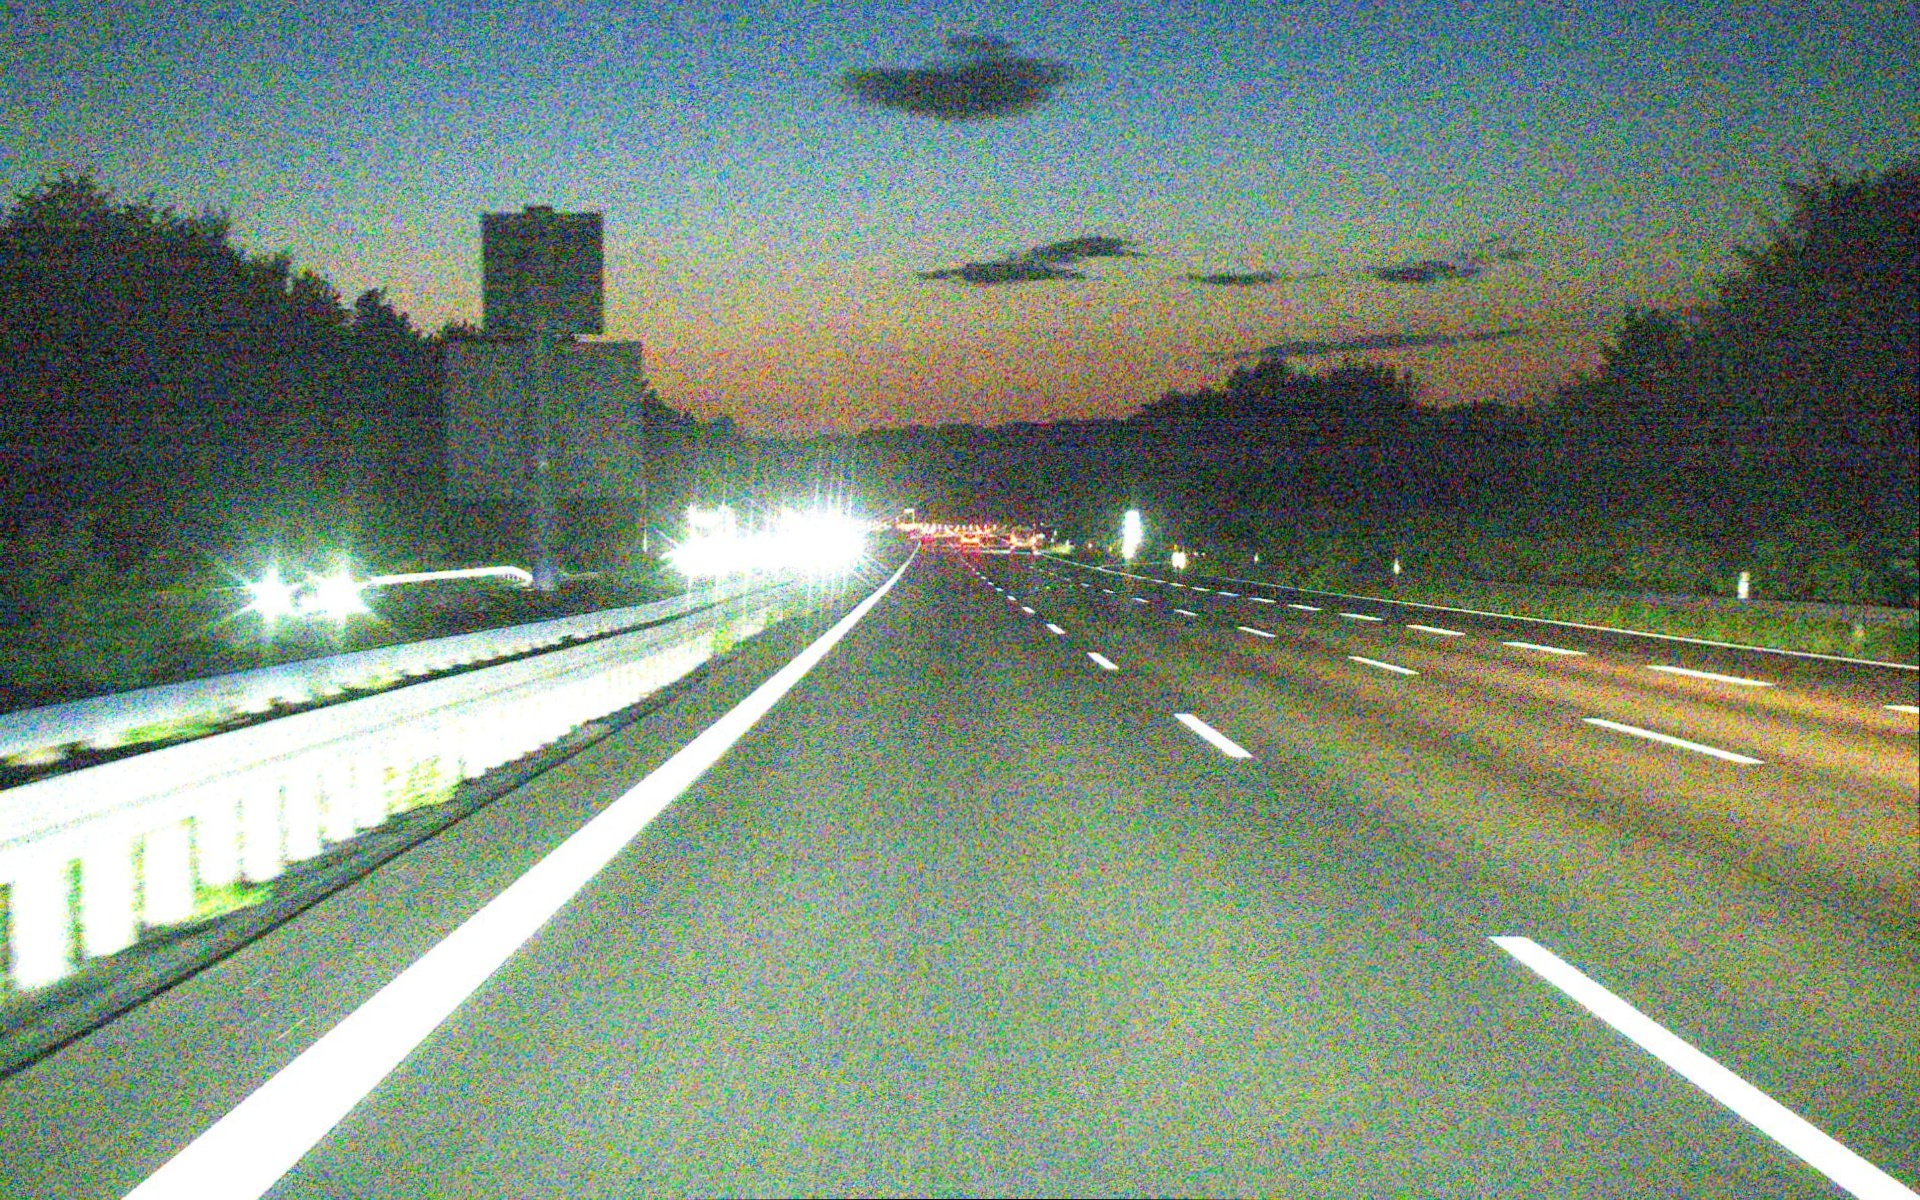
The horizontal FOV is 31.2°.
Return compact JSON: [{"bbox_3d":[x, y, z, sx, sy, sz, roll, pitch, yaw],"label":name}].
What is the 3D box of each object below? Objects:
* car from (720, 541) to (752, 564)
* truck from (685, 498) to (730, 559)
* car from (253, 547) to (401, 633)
[{"bbox_3d":[-14.500,-3.069,222.718,1.993,1.456,4.693,-2,1,-3],"label":"car"},{"bbox_3d":[-17.922,-5.095,244.633,2.753,4.197,5.826,-2,1,-1],"label":"truck"},{"bbox_3d":[-12.595,-0.231,68.720,1.993,1.546,5.005,-3,1,-1],"label":"car"}]
